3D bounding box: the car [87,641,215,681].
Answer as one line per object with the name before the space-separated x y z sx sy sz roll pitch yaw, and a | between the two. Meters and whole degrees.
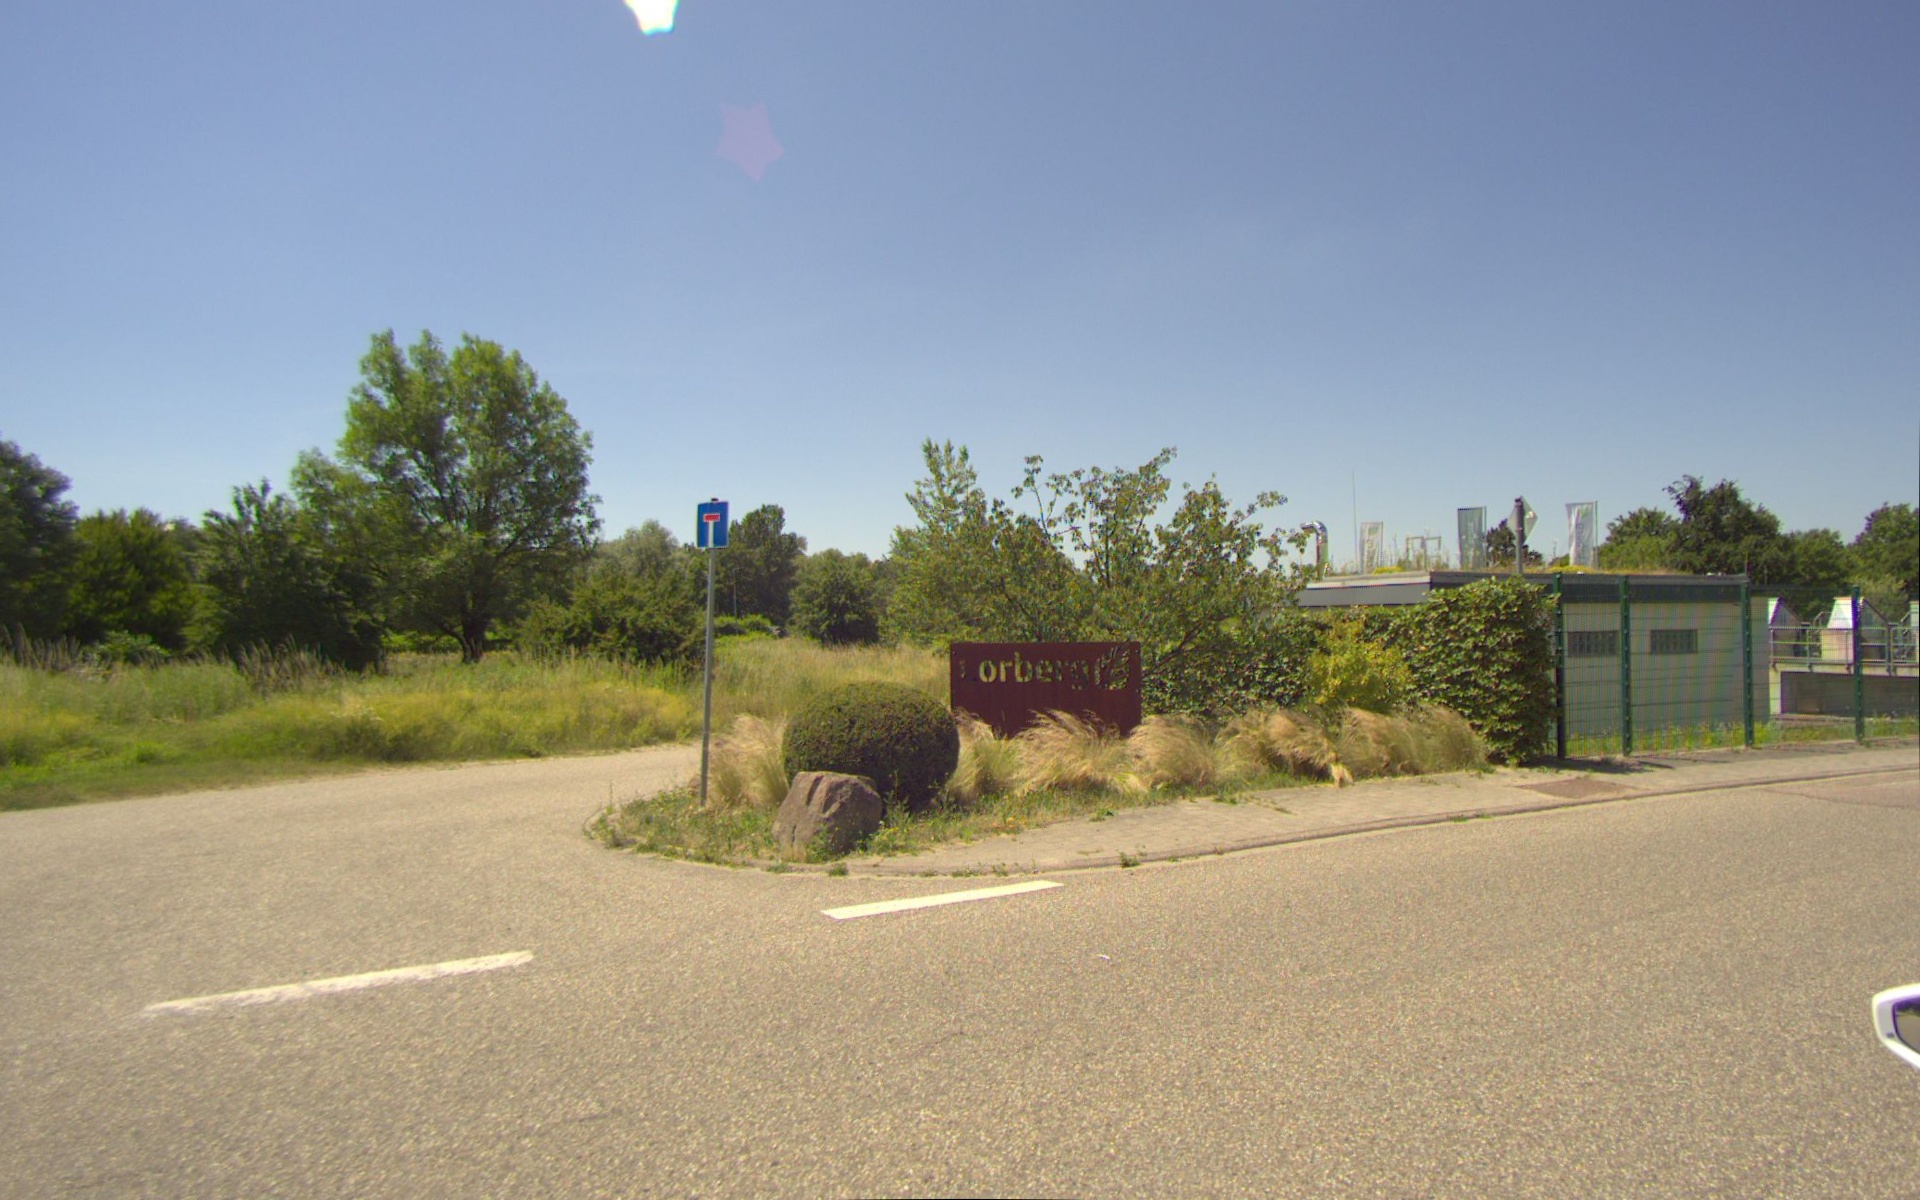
car | -35.797 2.665 44.566 1.960 1.617 4.002 -2 -2 16
